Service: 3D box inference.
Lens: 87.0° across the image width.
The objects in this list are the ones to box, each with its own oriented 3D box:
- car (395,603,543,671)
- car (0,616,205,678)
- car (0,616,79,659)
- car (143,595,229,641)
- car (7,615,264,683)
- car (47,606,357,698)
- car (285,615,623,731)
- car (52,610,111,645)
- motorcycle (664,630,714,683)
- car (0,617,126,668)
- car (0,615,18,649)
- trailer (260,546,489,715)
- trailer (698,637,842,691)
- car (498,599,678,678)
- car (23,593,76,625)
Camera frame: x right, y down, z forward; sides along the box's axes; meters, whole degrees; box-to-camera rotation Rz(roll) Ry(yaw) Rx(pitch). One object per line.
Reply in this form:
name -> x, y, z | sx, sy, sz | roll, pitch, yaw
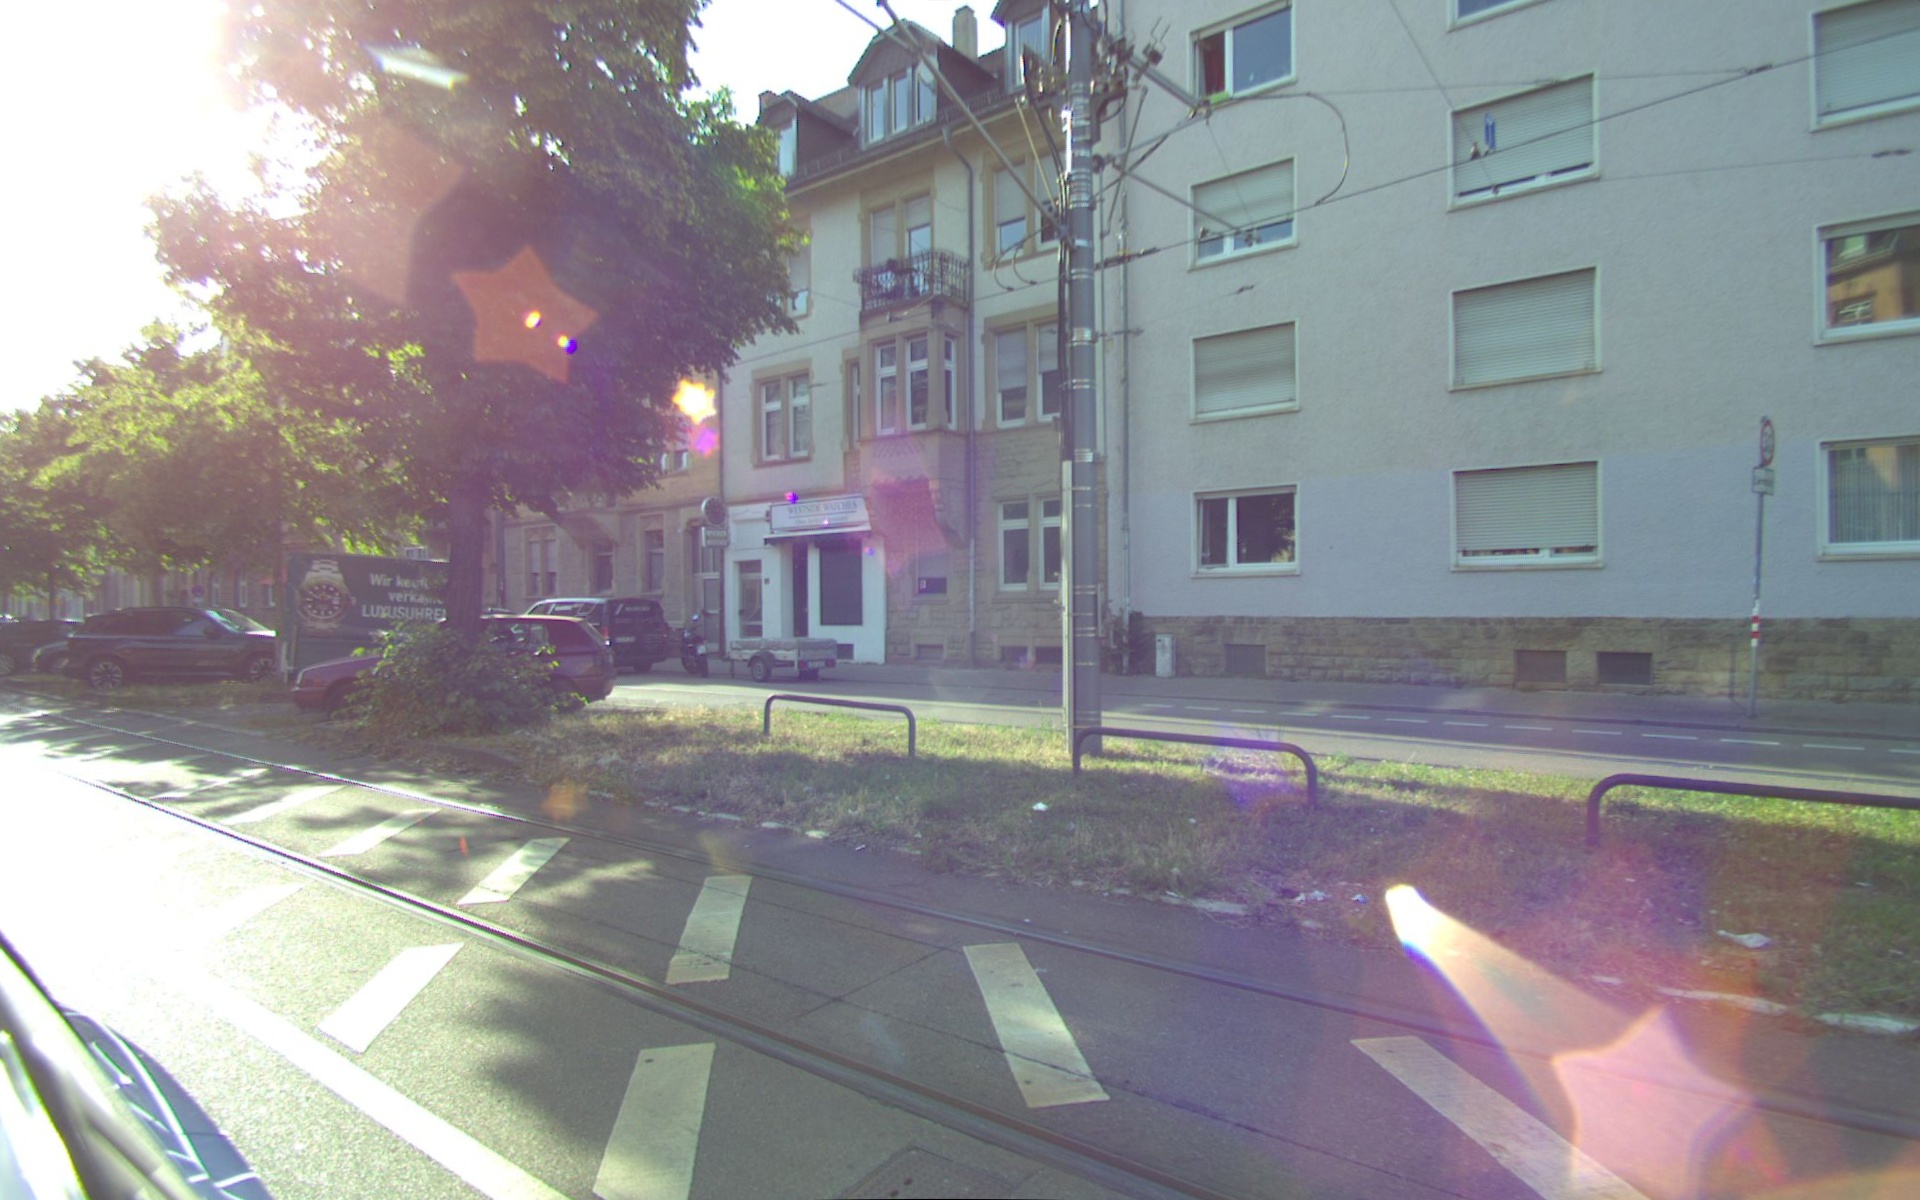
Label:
car -> -14.287, 1.037, 29.350 | 4.607, 1.763, 2.143 | -1, 0, 40
car -> -23.088, 1.227, 27.027 | 4.236, 1.433, 1.964 | -2, 0, -11
car -> -34.347, 1.364, 35.832 | 4.202, 1.433, 2.177 | -2, 0, -11
car -> -34.998, 0.804, 45.739 | 4.607, 1.915, 2.143 | -1, 0, 40
car -> -19.996, 1.152, 24.774 | 4.531, 1.392, 1.707 | -2, 0, -17
car -> -15.351, 1.001, 20.794 | 4.641, 1.703, 2.177 | -1, -1, -10
car -> -6.651, 0.914, 13.752 | 3.886, 1.370, 1.678 | 0, -1, -17
car -> -53.280, 1.644, 61.328 | 3.995, 2.029, 1.974 | -1, 0, 38
motorcycle -> -6.113, 1.243, 22.773 | 0.626, 1.088, 1.739 | -2, 0, -31
car -> -28.651, 1.329, 31.223 | 4.202, 1.433, 1.686 | -2, 0, -11
car -> -42.300, 1.373, 41.989 | 4.202, 1.433, 2.177 | -1, -1, -11
trailer -> -9.046, 0.426, 15.884 | 2.817, 2.410, 1.728 | -2, 0, -21
trailer -> -4.060, 1.316, 21.516 | 2.875, 0.902, 1.427 | -1, 4, 38
car -> -9.322, 0.912, 25.192 | 4.714, 1.763, 2.143 | -1, 0, 40
car -> -60.642, 0.601, 67.365 | 3.995, 2.029, 1.974 | -1, 0, 38
